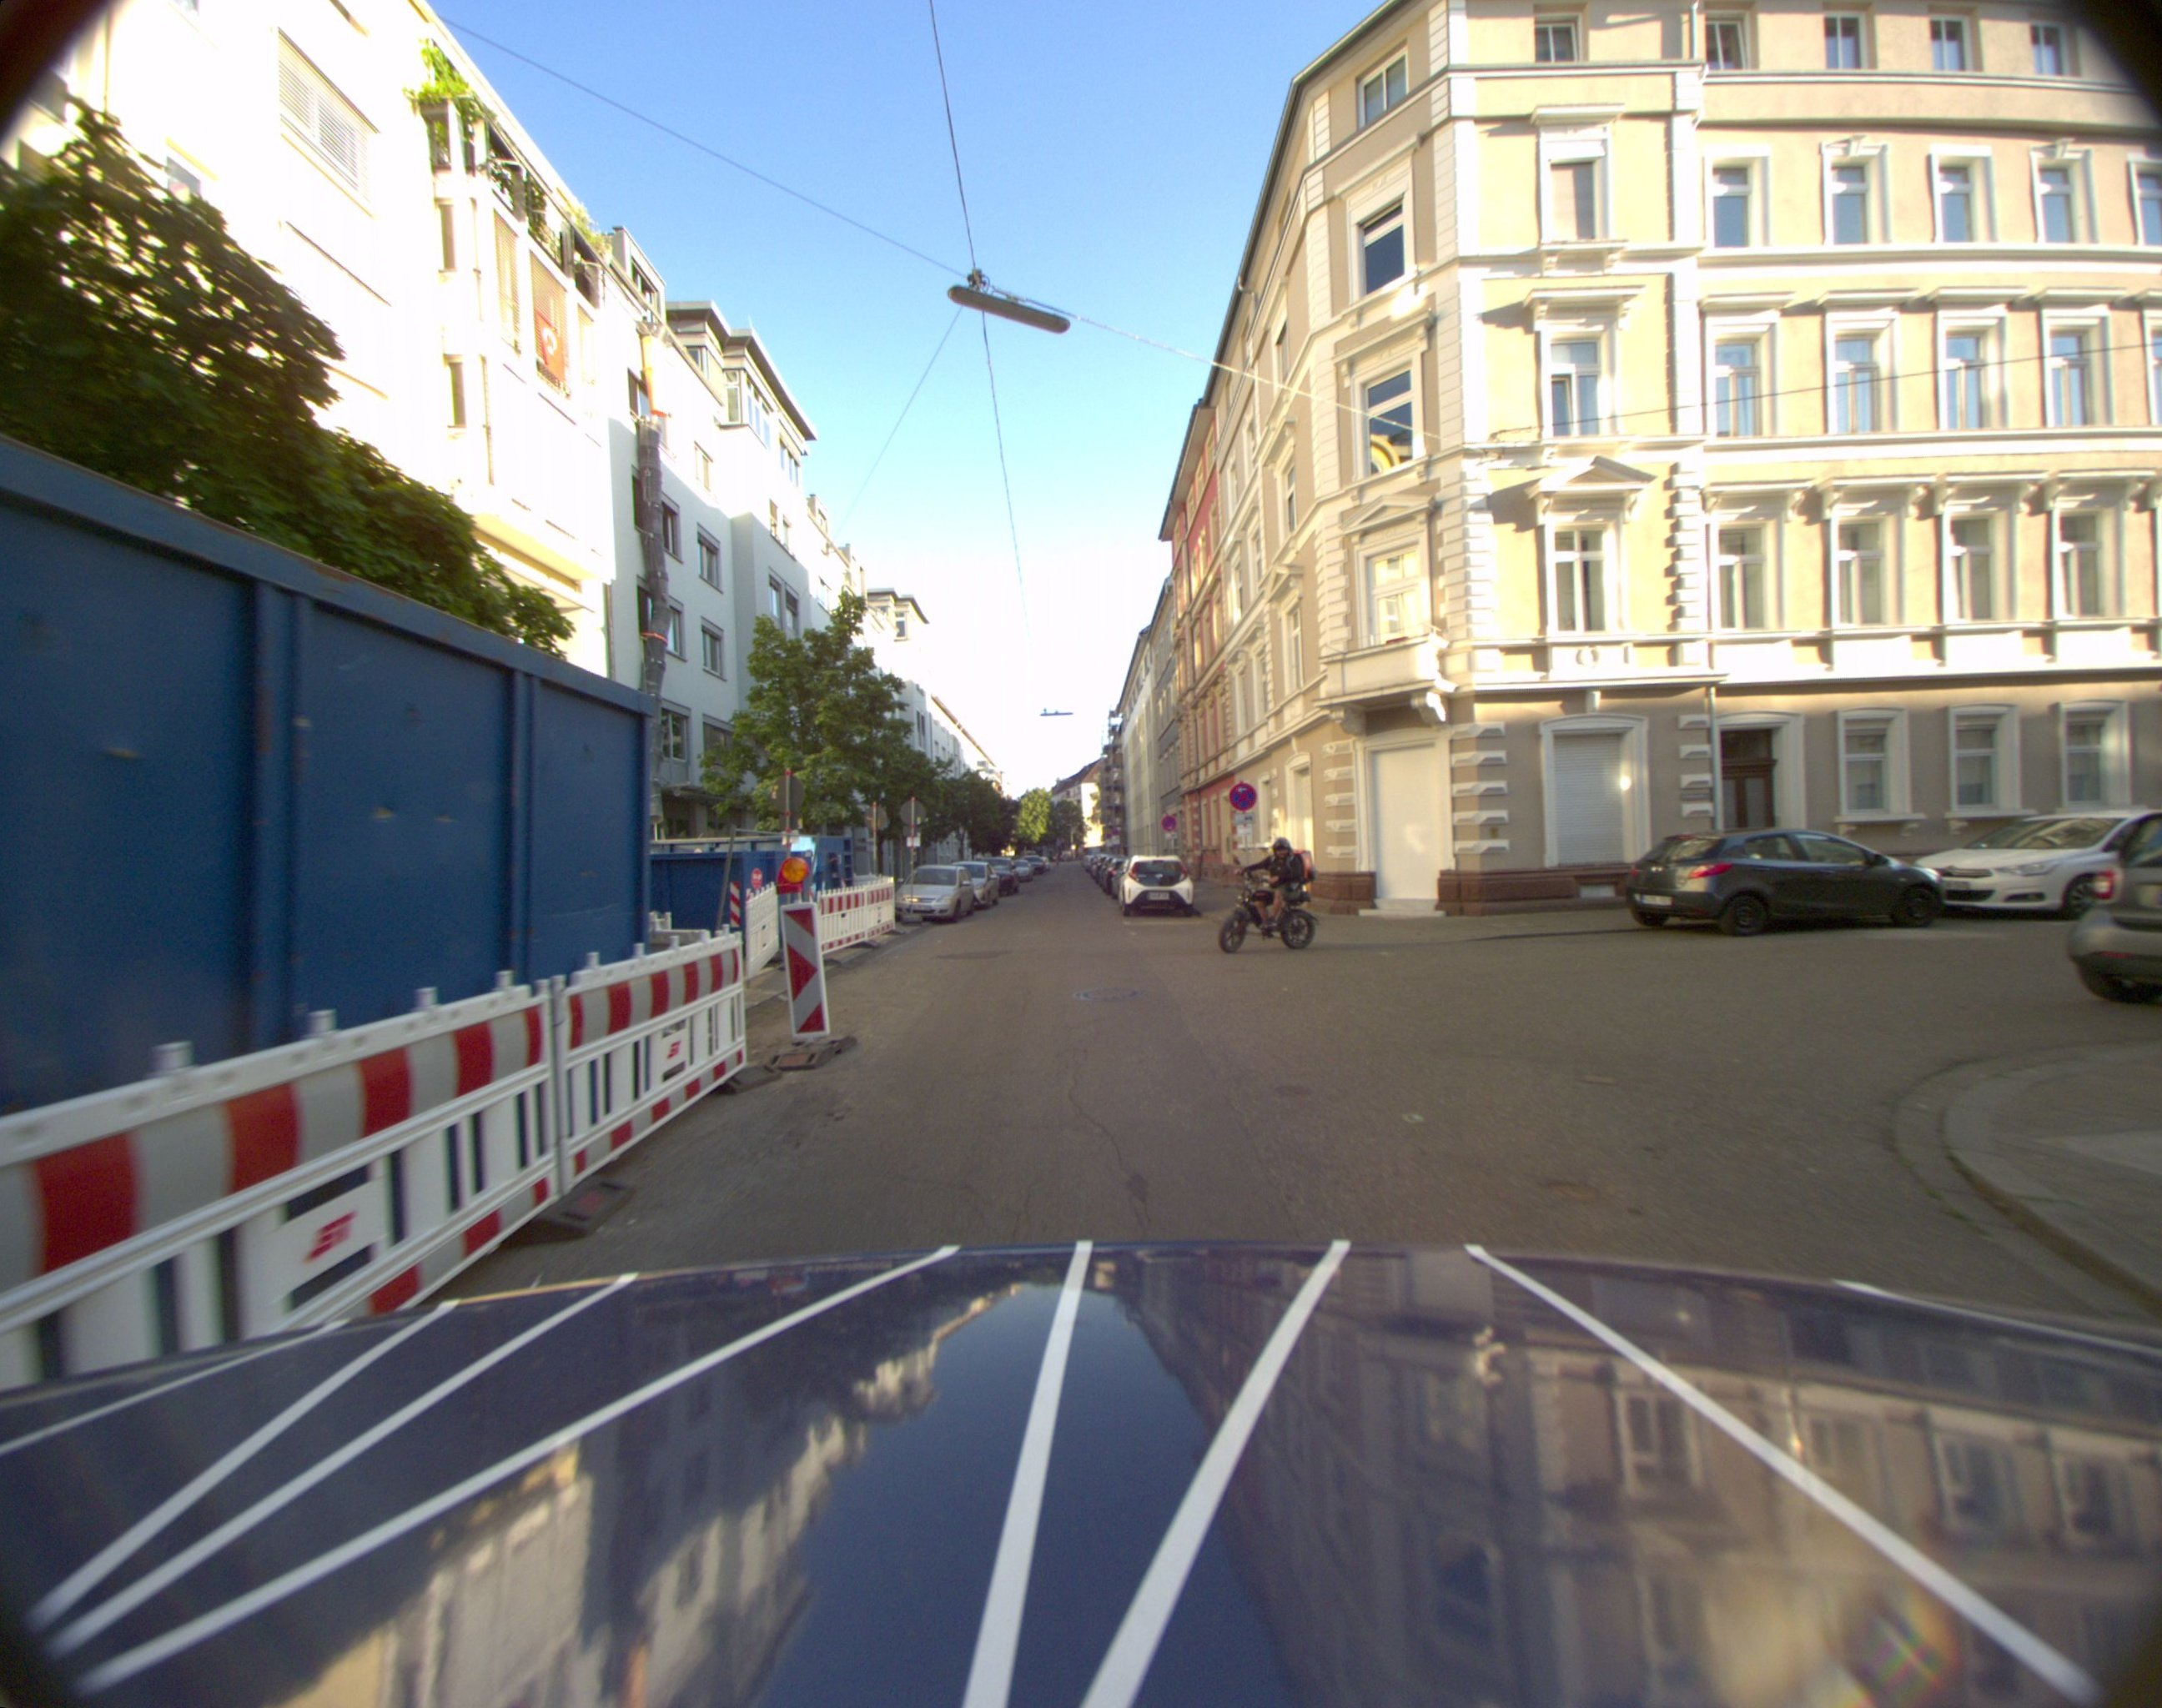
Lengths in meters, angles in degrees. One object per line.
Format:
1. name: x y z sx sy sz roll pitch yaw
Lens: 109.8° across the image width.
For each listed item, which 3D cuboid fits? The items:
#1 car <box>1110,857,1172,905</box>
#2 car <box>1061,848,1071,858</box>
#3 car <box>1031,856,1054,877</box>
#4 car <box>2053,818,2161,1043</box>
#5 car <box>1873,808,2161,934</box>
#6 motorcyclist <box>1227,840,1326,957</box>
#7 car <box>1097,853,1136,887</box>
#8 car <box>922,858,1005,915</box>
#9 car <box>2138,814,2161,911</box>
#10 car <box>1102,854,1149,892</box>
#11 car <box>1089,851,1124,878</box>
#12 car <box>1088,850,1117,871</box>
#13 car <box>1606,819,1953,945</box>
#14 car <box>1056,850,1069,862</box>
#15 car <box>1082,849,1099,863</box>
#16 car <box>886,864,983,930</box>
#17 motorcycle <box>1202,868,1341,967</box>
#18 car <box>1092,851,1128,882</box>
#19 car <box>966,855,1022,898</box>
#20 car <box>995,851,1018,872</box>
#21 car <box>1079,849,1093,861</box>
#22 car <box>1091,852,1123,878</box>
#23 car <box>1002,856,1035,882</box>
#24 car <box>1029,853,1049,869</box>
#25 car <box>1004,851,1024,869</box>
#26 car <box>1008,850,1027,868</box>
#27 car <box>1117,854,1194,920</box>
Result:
1. car: 1.882 0.819 24.951 1.614 1.420 3.961 0 1 -2
2. car: -2.938 -0.168 150.015 1.999 1.783 3.999 -3 0 0
3. car: -3.359 1.097 66.928 1.856 1.649 3.999 -3 0 -3
4. car: 8.943 0.476 5.075 2.762 1.556 1.648 -3 1 0
5. car: 14.623 0.177 11.196 4.091 1.551 1.834 -3 1 -3
6. motorcyclist: 2.824 0.636 11.084 1.000 1.558 0.874 -4 -1 -12
7. car: 1.650 0.721 36.505 1.537 1.490 4.194 -1 1 -2
8. car: -3.780 1.000 25.123 1.912 1.576 4.000 -3 0 2
9. car: 19.352 0.028 11.488 4.091 1.551 2.008 -3 1 -3
10. car: 1.732 0.713 30.375 1.589 1.407 3.911 1 0 0
11. car: 1.714 0.694 52.569 1.999 1.640 4.492 -3 1 -2
12. car: 1.718 0.525 62.488 1.999 1.576 4.492 -3 1 -2
13. car: 9.916 0.361 10.945 3.589 1.471 1.686 -3 1 -6
14. car: -2.913 0.329 119.637 1.999 1.783 3.999 -3 0 0
15. car: 1.210 0.262 100.007 1.999 1.783 3.999 -3 0 0
16. car: -3.819 1.065 20.479 1.638 1.439 4.066 -3 0 2
17. motorcycle: 2.749 0.896 11.051 1.698 1.242 0.806 -4 -1 -12
18. car: 1.544 0.634 41.514 1.597 1.513 4.429 -3 1 -1
19. car: -3.808 0.946 34.077 1.863 1.679 4.390 -3 0 1
20. car: -7.757 0.749 79.452 1.999 2.002 3.999 -3 0 -2
21. car: 0.733 0.110 119.912 1.999 1.783 3.999 -3 0 0
22. car: 1.579 0.663 47.449 1.662 1.420 4.352 -3 1 -2
23. car: -4.111 0.951 50.324 1.856 1.480 3.999 -3 0 -2
24. car: -4.316 0.712 79.266 1.903 1.510 4.223 -3 0 -2
25. car: -7.816 0.660 88.952 1.999 2.002 3.999 -3 0 -2
26. car: -7.782 0.566 93.442 1.999 2.002 3.999 -3 0 -2
27. car: 1.857 0.785 19.988 1.688 1.487 3.844 1 1 1
